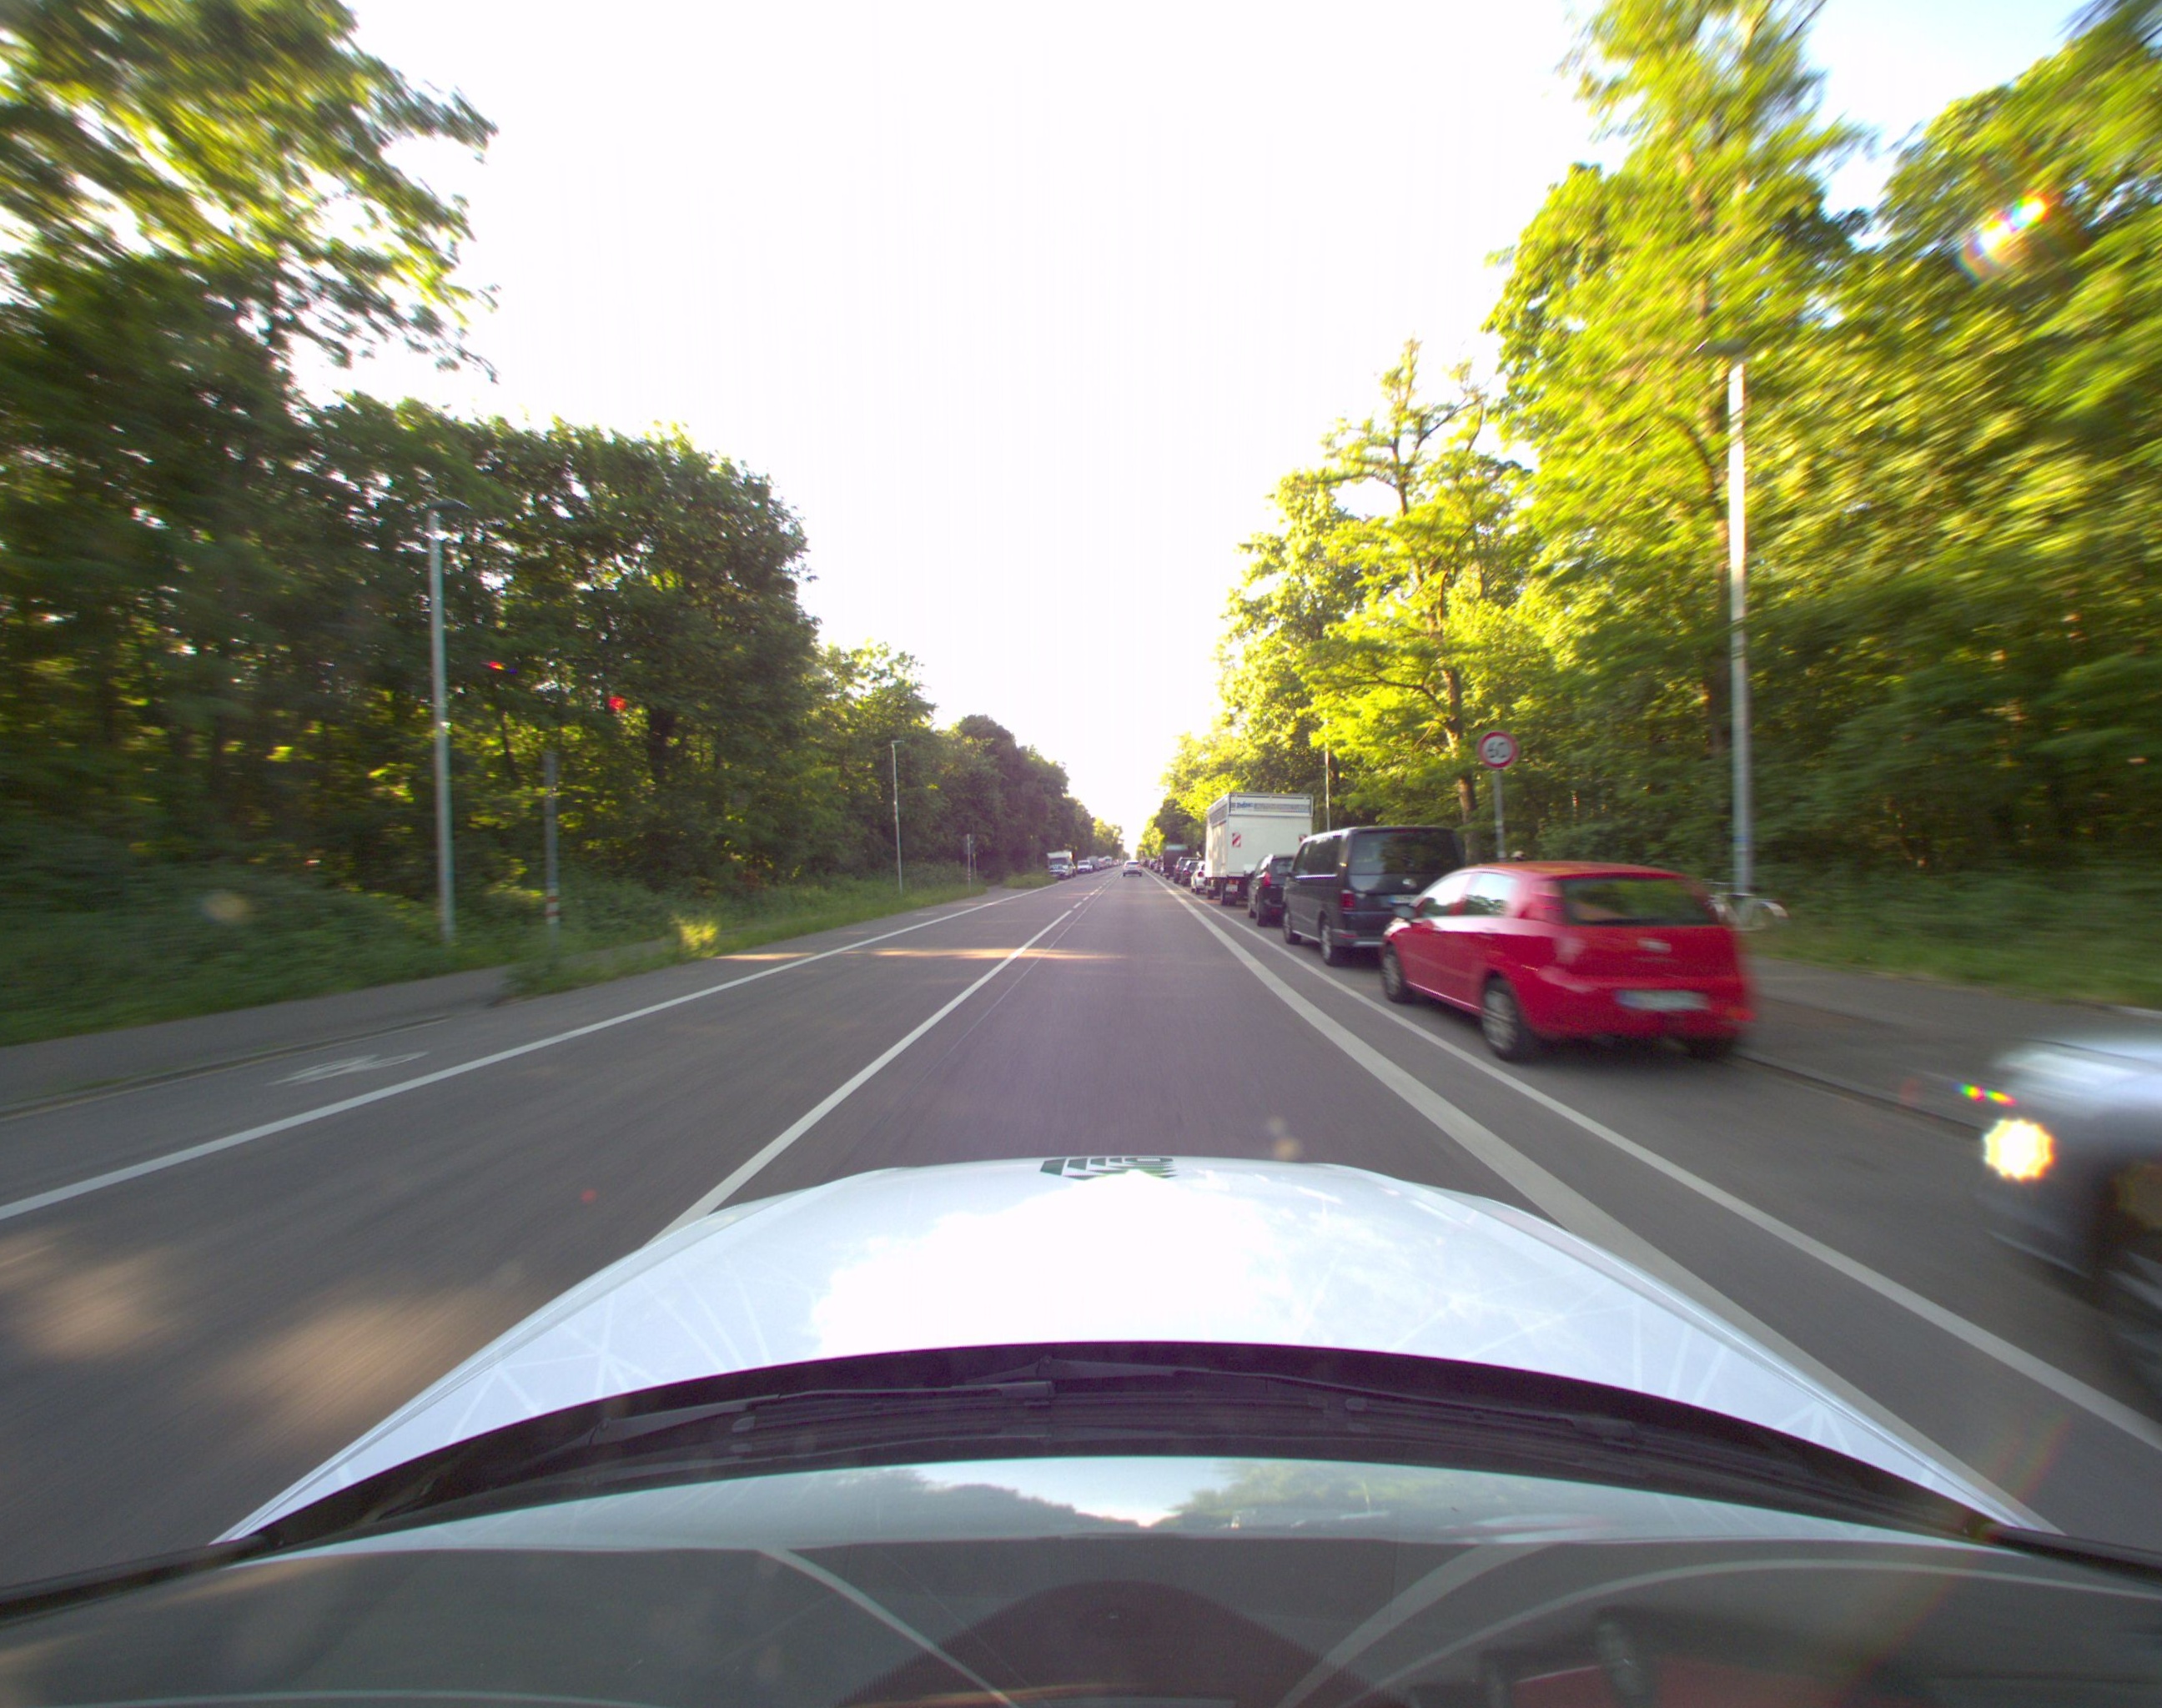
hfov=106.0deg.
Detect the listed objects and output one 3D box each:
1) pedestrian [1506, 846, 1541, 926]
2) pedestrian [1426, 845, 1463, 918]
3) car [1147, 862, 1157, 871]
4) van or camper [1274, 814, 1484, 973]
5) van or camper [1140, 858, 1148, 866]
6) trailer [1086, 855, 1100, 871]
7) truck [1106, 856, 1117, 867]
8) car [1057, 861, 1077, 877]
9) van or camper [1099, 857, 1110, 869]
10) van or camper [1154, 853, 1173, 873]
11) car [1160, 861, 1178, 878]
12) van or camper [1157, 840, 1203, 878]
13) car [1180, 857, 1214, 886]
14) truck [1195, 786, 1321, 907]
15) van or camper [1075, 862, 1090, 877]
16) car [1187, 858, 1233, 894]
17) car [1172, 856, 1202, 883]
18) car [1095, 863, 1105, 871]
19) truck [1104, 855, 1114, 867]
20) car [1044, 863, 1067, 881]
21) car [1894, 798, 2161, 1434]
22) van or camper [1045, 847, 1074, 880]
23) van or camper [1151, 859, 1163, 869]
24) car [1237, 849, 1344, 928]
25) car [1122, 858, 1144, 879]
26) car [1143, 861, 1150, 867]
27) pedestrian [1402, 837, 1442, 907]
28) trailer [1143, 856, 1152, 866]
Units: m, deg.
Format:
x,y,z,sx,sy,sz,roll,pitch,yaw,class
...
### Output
x,y,z,sx,sy,sz,roll,pitch,yaw,class
9.009,0.648,16.573,0.392,1.588,0.482,-2,-1,3,pedestrian
8.134,0.612,18.234,0.561,1.588,0.482,-2,-1,3,pedestrian
12.347,2.104,141.985,1.682,1.524,4.153,0,-1,4,car
4.437,0.533,12.953,1.889,2.014,4.591,-2,0,4,van or camper
15.702,2.012,202.010,1.985,1.932,5.204,-1,-1,4,van or camper
2.132,1.558,138.956,1.985,2.597,4.420,-4,-1,4,trailer
8.654,2.225,231.678,2.696,3.094,7.997,-2,-1,4,truck
-1.519,1.645,89.794,1.639,1.632,4.278,-4,-1,4,car
5.251,1.942,184.522,2.111,2.572,6.549,-2,-1,4,van or camper
10.260,1.125,101.725,2.026,2.312,6.045,-3,0,3,van or camper
8.709,1.498,80.512,1.704,1.545,4.027,0,0,5,car
8.063,0.363,65.529,2.422,2.800,6.586,-3,-1,17,van or camper
6.665,0.977,47.053,1.704,1.568,4.557,0,0,5,car
5.840,-0.187,28.404,2.821,3.497,8.584,-2,0,3,truck
0.215,2.197,115.688,1.828,1.911,4.859,-3,-1,3,van or camper
5.818,0.952,37.013,1.704,1.568,4.004,0,0,3,car
6.820,0.947,52.593,1.704,1.665,4.557,0,0,5,car
3.955,2.600,165.201,1.724,1.478,4.329,-4,-1,4,car
8.358,2.184,242.999,2.696,3.348,10.934,-2,-1,4,truck
-2.319,1.656,74.370,1.821,1.476,4.681,-3,-1,1,car
3.512,0.620,0.644,1.791,1.595,4.031,-2,0,3,car
-2.103,0.959,81.645,2.306,2.970,7.113,-4,-1,1,van or camper
13.831,1.816,148.643,1.943,1.815,4.385,-1,-1,4,van or camper
4.943,0.764,19.746,1.790,1.657,4.033,-2,0,4,car
5.105,1.379,79.004,2.020,1.840,4.033,-2,0,4,car
18.013,2.730,224.719,1.833,1.662,4.005,-2,-1,4,car
8.878,0.461,21.230,0.615,1.764,0.907,-2,-1,3,pedestrian
20.135,2.153,246.643,2.745,2.870,6.595,-2,-1,4,trailer
